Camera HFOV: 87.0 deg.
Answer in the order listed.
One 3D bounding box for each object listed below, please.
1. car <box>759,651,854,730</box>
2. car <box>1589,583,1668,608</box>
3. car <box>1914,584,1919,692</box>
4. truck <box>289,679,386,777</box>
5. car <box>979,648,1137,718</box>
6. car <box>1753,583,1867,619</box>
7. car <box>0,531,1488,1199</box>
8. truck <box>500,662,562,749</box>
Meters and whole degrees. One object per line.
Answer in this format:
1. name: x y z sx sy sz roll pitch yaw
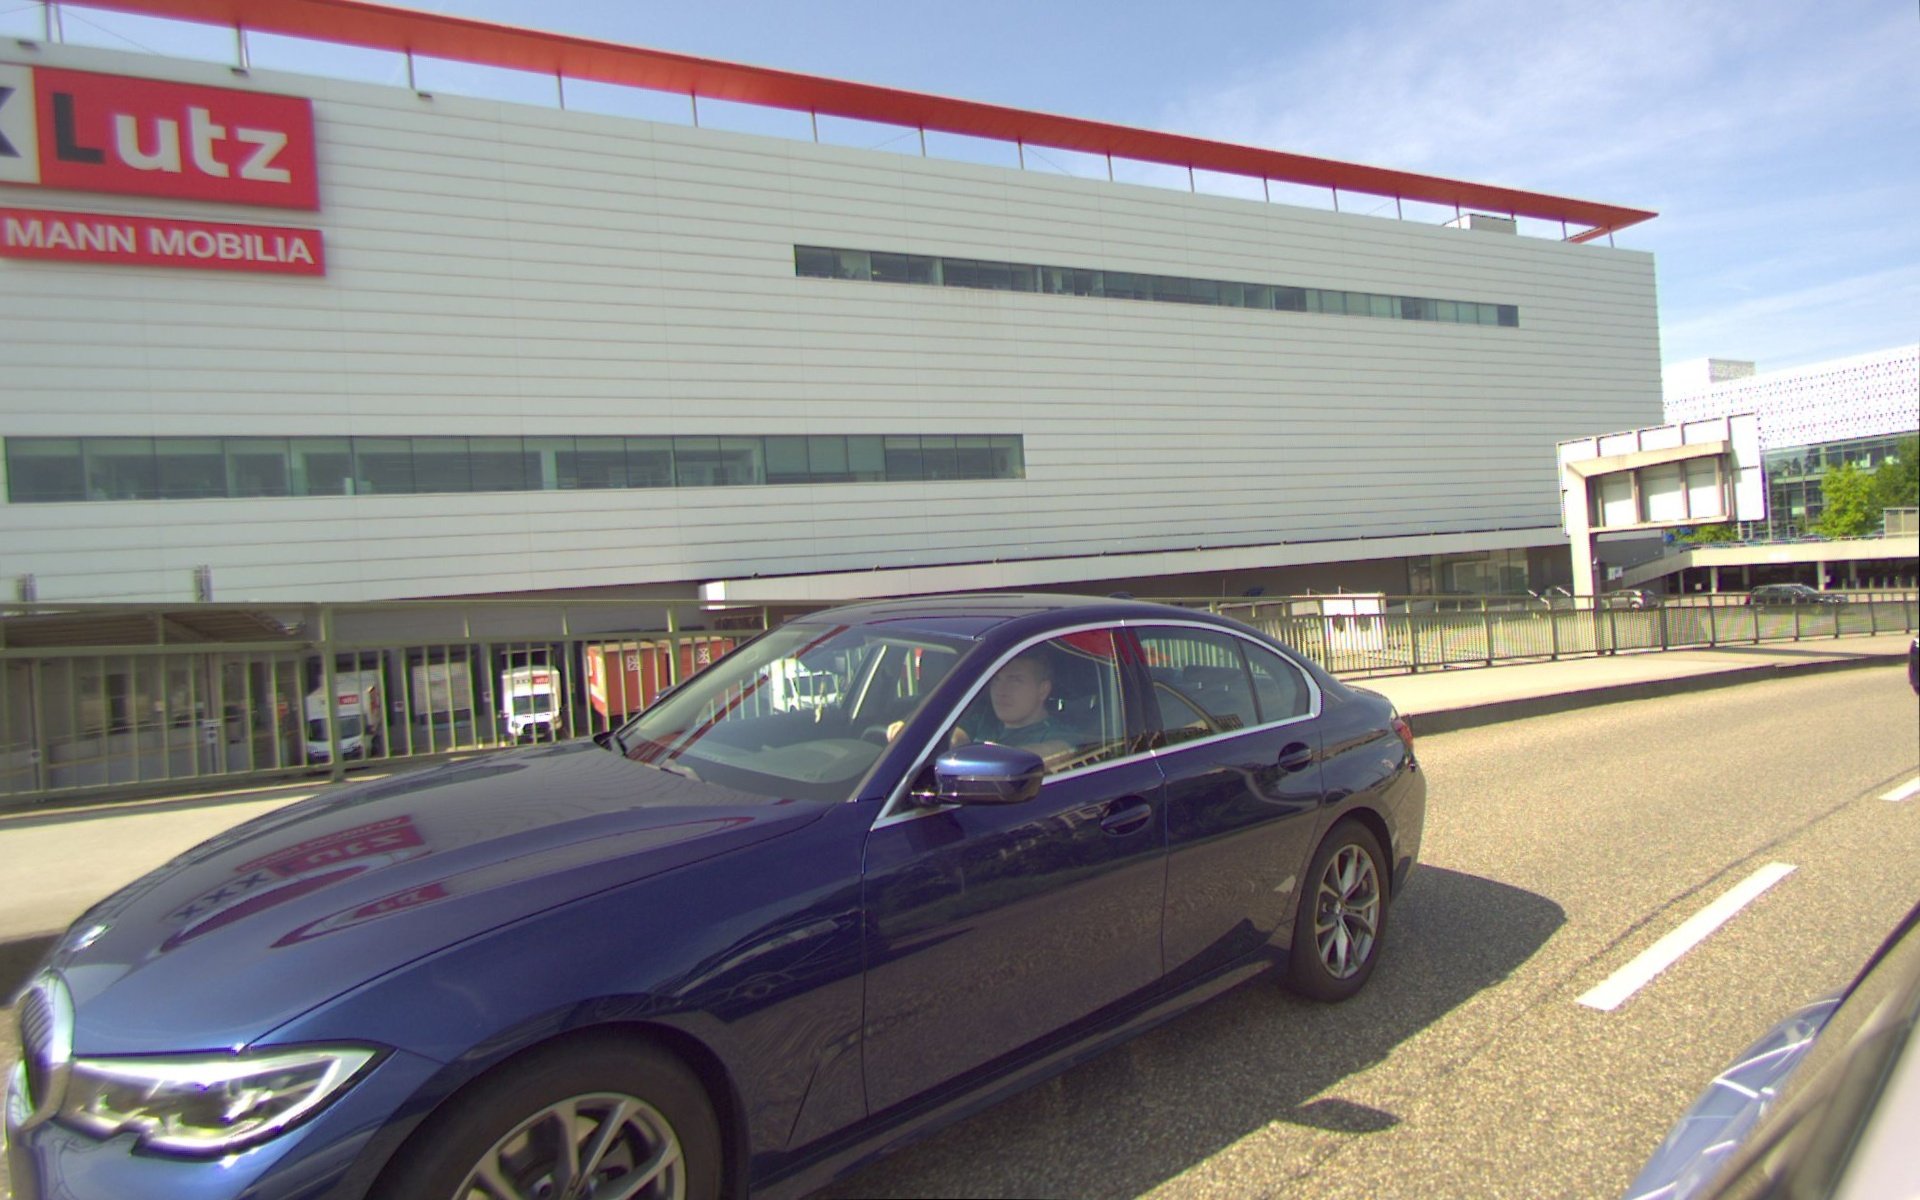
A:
1. car: -6.403 3.588 41.527 2.089 2.653 6.020 -4 0 -25
2. car: 43.626 -0.259 66.098 1.774 1.393 3.874 -3 -1 -26
3. car: 15.915 0.585 14.837 4.062 1.548 1.863 1 0 -32
4. truck: -24.023 4.816 39.312 2.088 2.963 6.022 -4 0 -22
5. car: 3.920 3.213 40.207 5.890 2.029 2.136 -4 2 -25
6. car: 46.261 0.087 55.222 1.824 1.754 4.426 -4 0 -16
7. car: -0.094 0.629 3.453 4.443 1.502 1.790 -5 1 -41
8. truck: -17.960 4.295 42.532 2.088 2.963 6.022 -4 0 -22
